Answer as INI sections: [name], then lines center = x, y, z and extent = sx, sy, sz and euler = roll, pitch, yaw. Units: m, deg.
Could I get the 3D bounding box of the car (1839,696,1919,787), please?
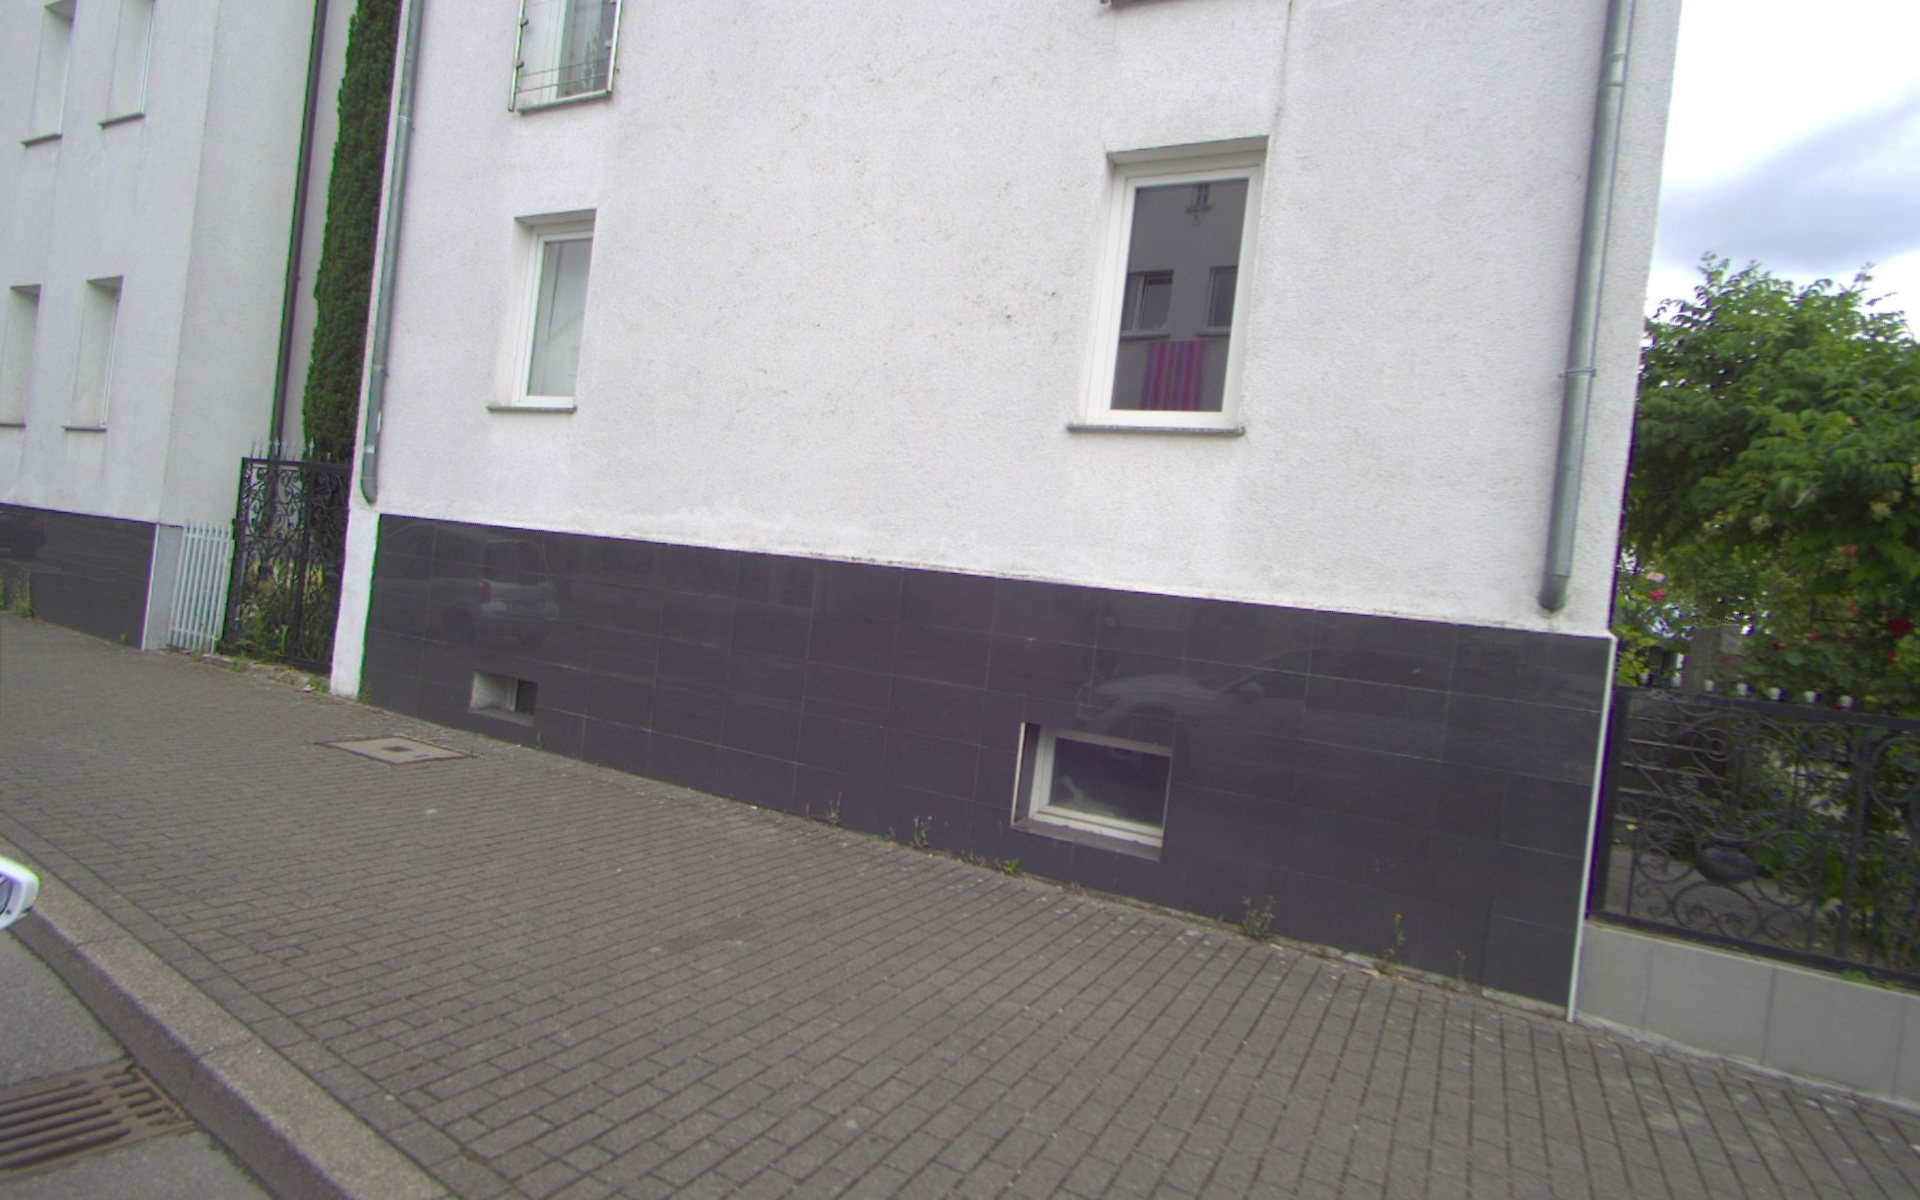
[car]
center = 18.378, 2.717, 19.199
extent = 1.722, 1.488, 3.989
euler = 7, 0, 33
